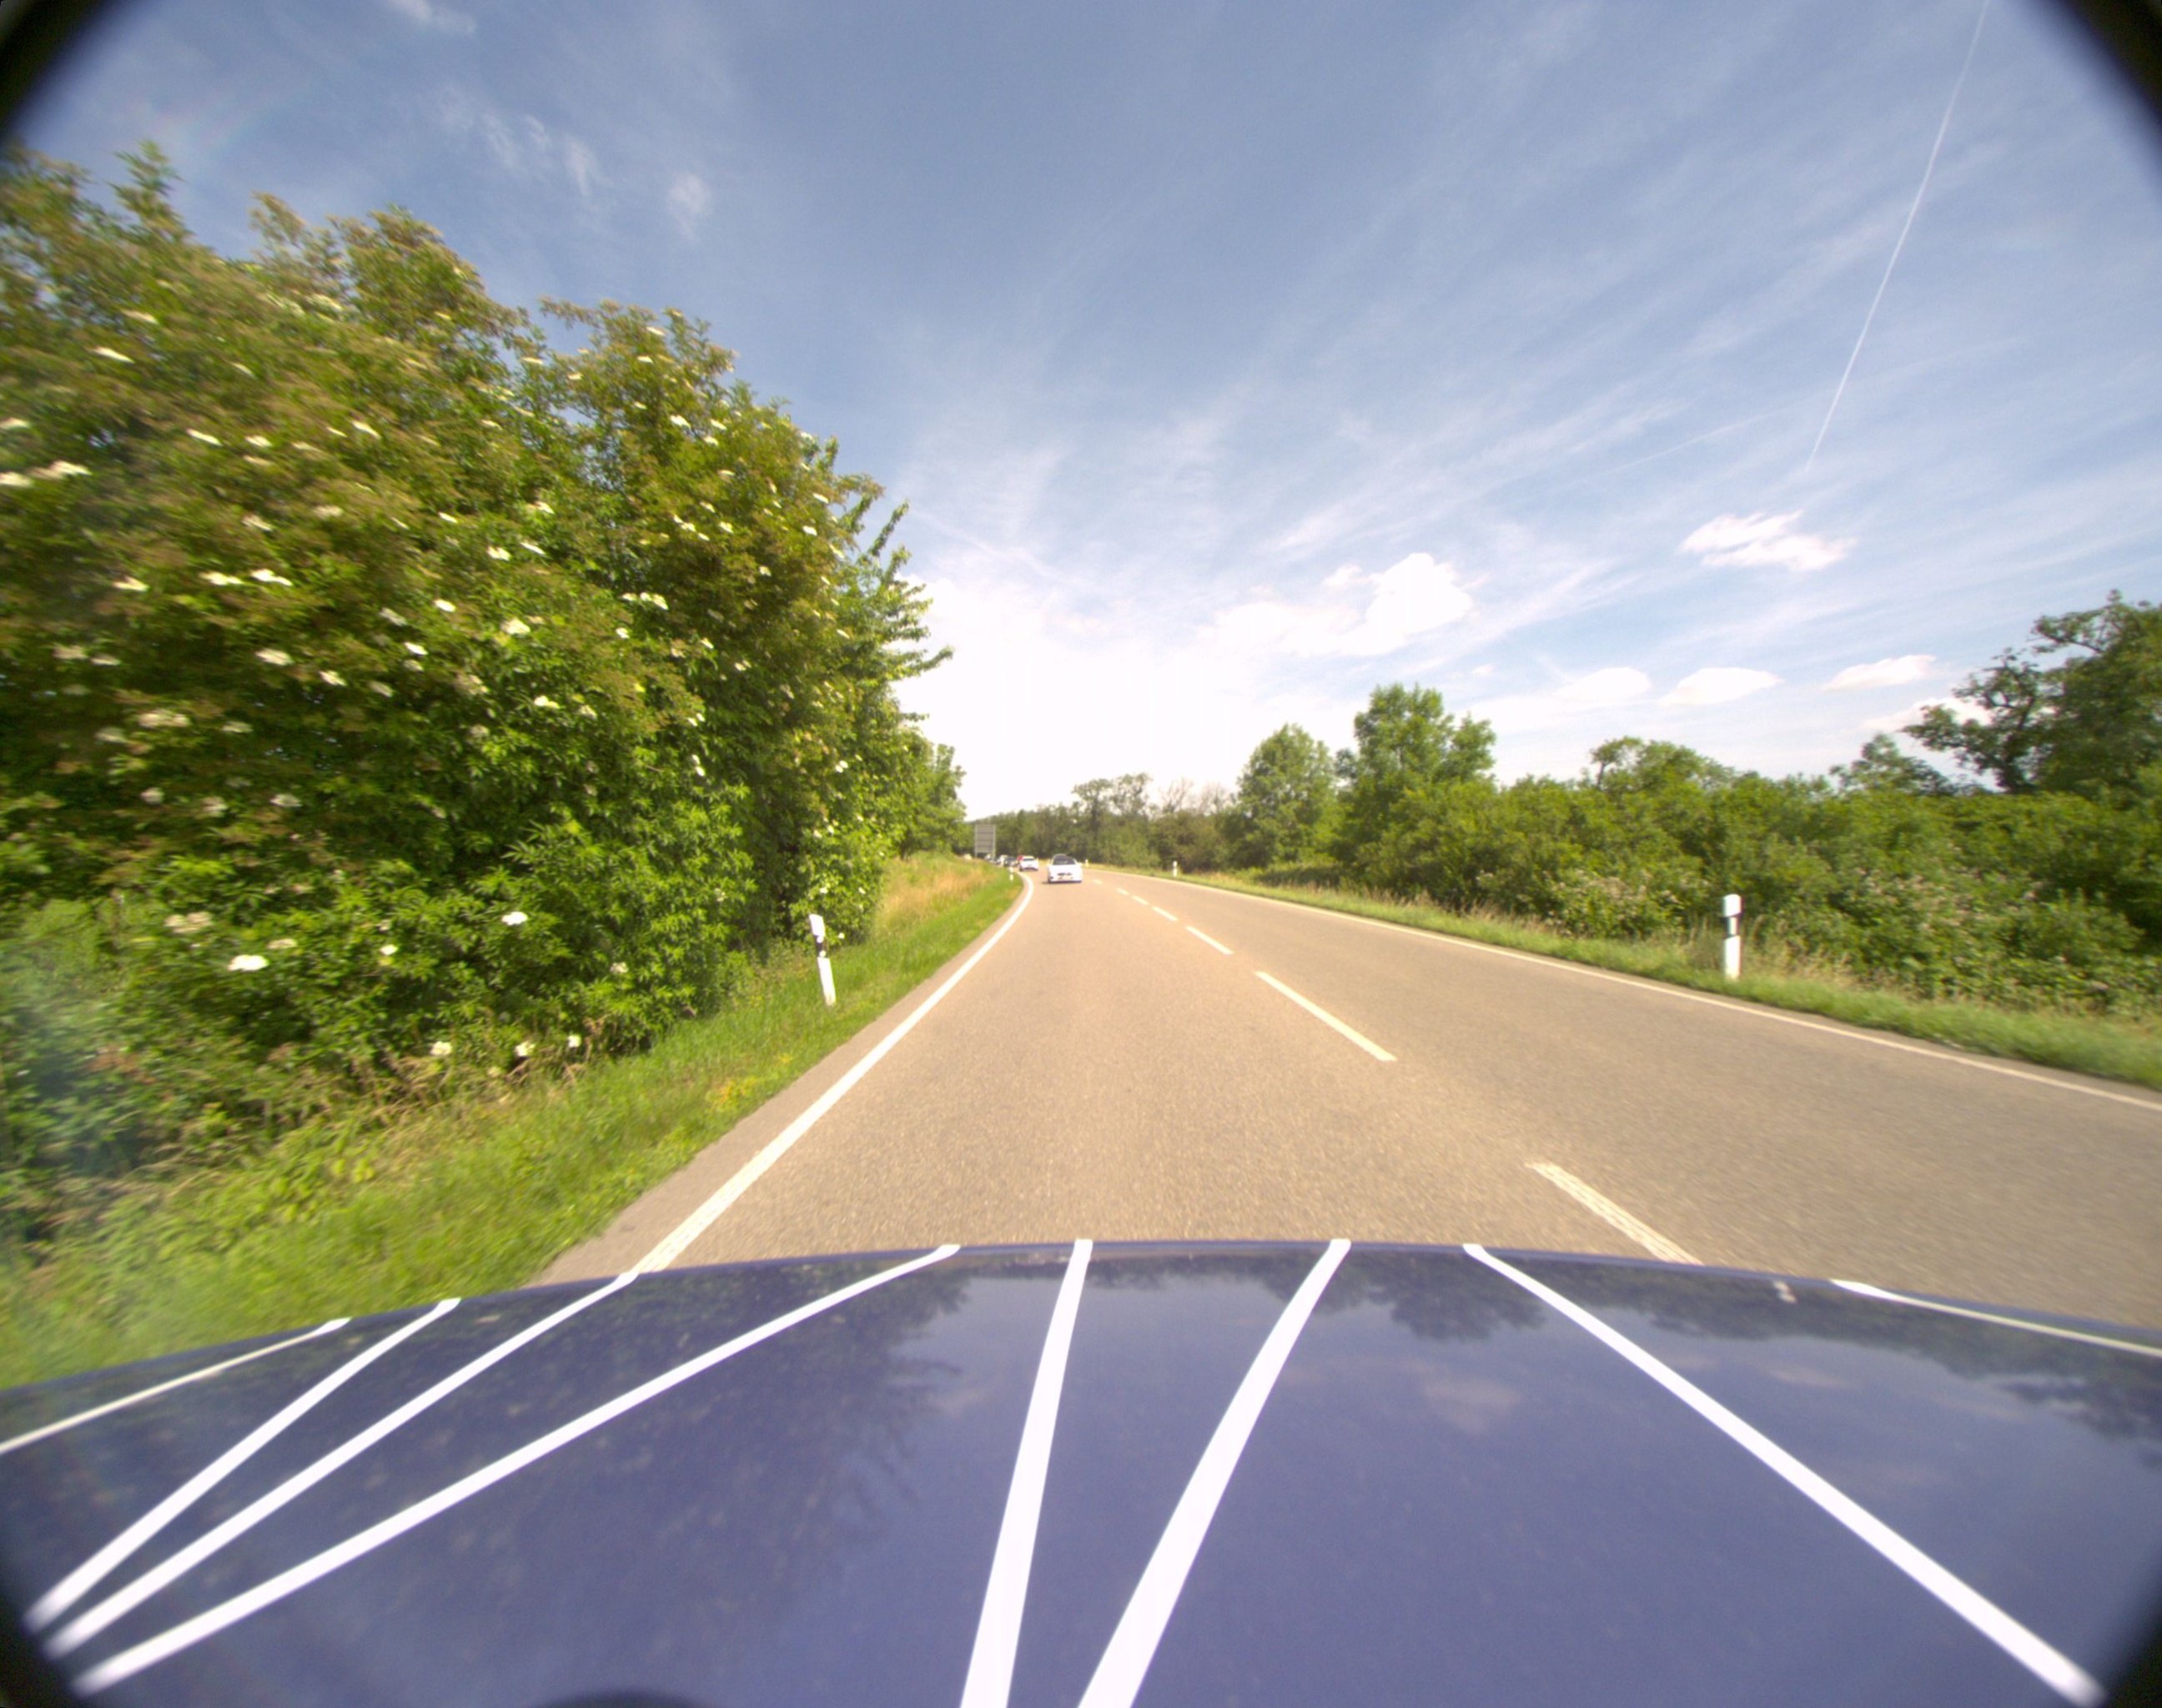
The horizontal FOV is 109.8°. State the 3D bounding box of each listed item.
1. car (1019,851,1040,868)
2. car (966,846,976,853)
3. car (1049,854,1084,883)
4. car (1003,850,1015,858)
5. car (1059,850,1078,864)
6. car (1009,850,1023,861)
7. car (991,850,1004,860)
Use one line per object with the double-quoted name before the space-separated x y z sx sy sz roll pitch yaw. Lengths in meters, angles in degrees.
"car" -5.403 0.552 79.511 1.867 1.480 3.996 -3 2 -8
"car" -26.783 -1.173 184.610 1.798 1.513 4.153 1 1 -18
"car" -0.863 0.798 43.309 1.773 1.437 3.998 -2 2 -3
"car" -13.510 -0.018 142.764 1.757 1.406 3.767 1 1 -14
"car" -1.426 0.330 87.519 1.962 1.596 4.399 2 1 -4
"car" -9.136 0.203 106.613 1.826 1.511 3.997 2 1 -7
"car" -14.099 0.147 128.406 1.667 1.641 3.994 1 1 -14
